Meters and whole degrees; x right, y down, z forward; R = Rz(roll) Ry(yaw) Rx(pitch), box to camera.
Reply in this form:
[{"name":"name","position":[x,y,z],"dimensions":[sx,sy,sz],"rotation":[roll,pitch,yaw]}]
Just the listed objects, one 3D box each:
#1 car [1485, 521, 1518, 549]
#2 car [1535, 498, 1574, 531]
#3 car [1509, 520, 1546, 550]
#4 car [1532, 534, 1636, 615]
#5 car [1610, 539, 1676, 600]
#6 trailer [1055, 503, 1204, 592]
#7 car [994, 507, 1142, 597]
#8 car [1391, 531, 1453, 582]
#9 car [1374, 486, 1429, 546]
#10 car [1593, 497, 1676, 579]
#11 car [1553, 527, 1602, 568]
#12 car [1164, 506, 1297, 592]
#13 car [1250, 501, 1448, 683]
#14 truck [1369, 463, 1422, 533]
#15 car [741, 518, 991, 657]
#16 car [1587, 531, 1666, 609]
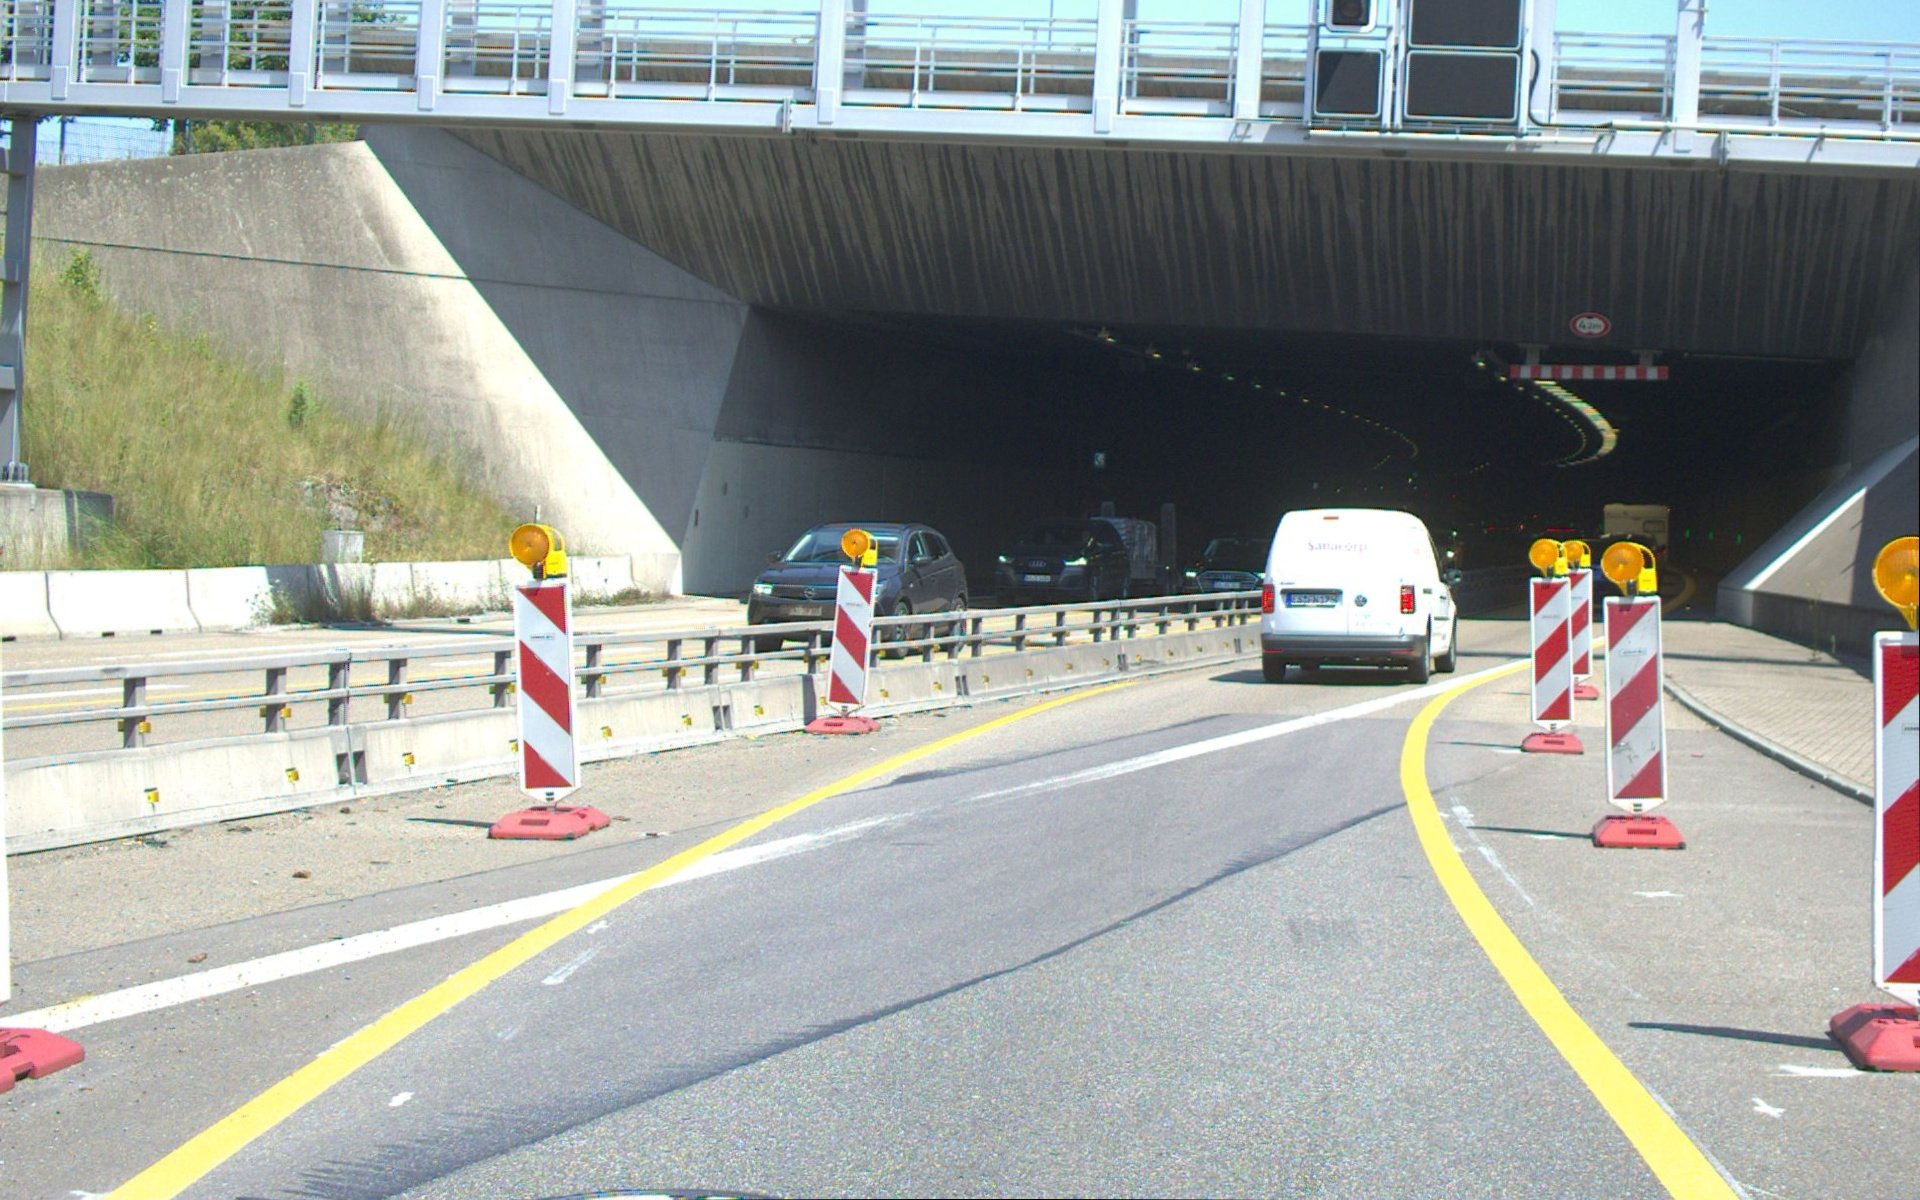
[{"name":"car","position":[40.452,-4.839,256.874],"dimensions":[2.073,2.014,4.661],"rotation":[1,2,4]},{"name":"car","position":[36.520,-5.253,211.192],"dimensions":[1.940,2.014,4.661],"rotation":[1,2,4]},{"name":"car","position":[39.040,-4.455,236.603],"dimensions":[2.073,2.014,4.661],"rotation":[1,2,4]},{"name":"car","position":[12.743,-0.536,70.056],"dimensions":[1.809,1.532,4.407],"rotation":[3,1,13]},{"name":"car","position":[20.654,-0.938,104.032],"dimensions":[1.809,1.745,4.408],"rotation":[2,1,10]},{"name":"trailer","position":[3.668,-1.160,73.356],"dimensions":[1.948,1.799,5.519],"rotation":[1,2,16]},{"name":"car","position":[2.190,-0.988,68.382],"dimensions":[1.775,1.721,4.864],"rotation":[1,2,16]},{"name":"car","position":[15.003,-1.437,111.612],"dimensions":[1.774,1.572,4.445],"rotation":[1,2,10]},{"name":"car","position":[19.016,-3.629,147.863],"dimensions":[1.994,2.506,6.039],"rotation":[1,2,11]},{"name":"car","position":[24.538,-2.234,125.222],"dimensions":[2.815,2.764,7.098],"rotation":[2,0,11]},{"name":"car","position":[31.600,-2.711,176.043],"dimensions":[1.940,2.014,4.661],"rotation":[1,2,4]},{"name":"car","position":[5.319,-1.023,67.050],"dimensions":[1.775,1.588,4.983],"rotation":[1,2,14]},{"name":"car","position":[4.259,-0.114,37.203],"dimensions":[1.809,1.788,3.729],"rotation":[3,1,10]},{"name":"truck","position":[25.032,-5.859,197.405],"dimensions":[2.811,3.902,6.454],"rotation":[1,2,9]},{"name":"car","position":[-1.089,-0.189,42.222],"dimensions":[1.744,1.588,4.224],"rotation":[1,1,18]},{"name":"car","position":[16.645,-0.763,85.986],"dimensions":[1.809,1.808,4.408],"rotation":[3,1,10]}]
